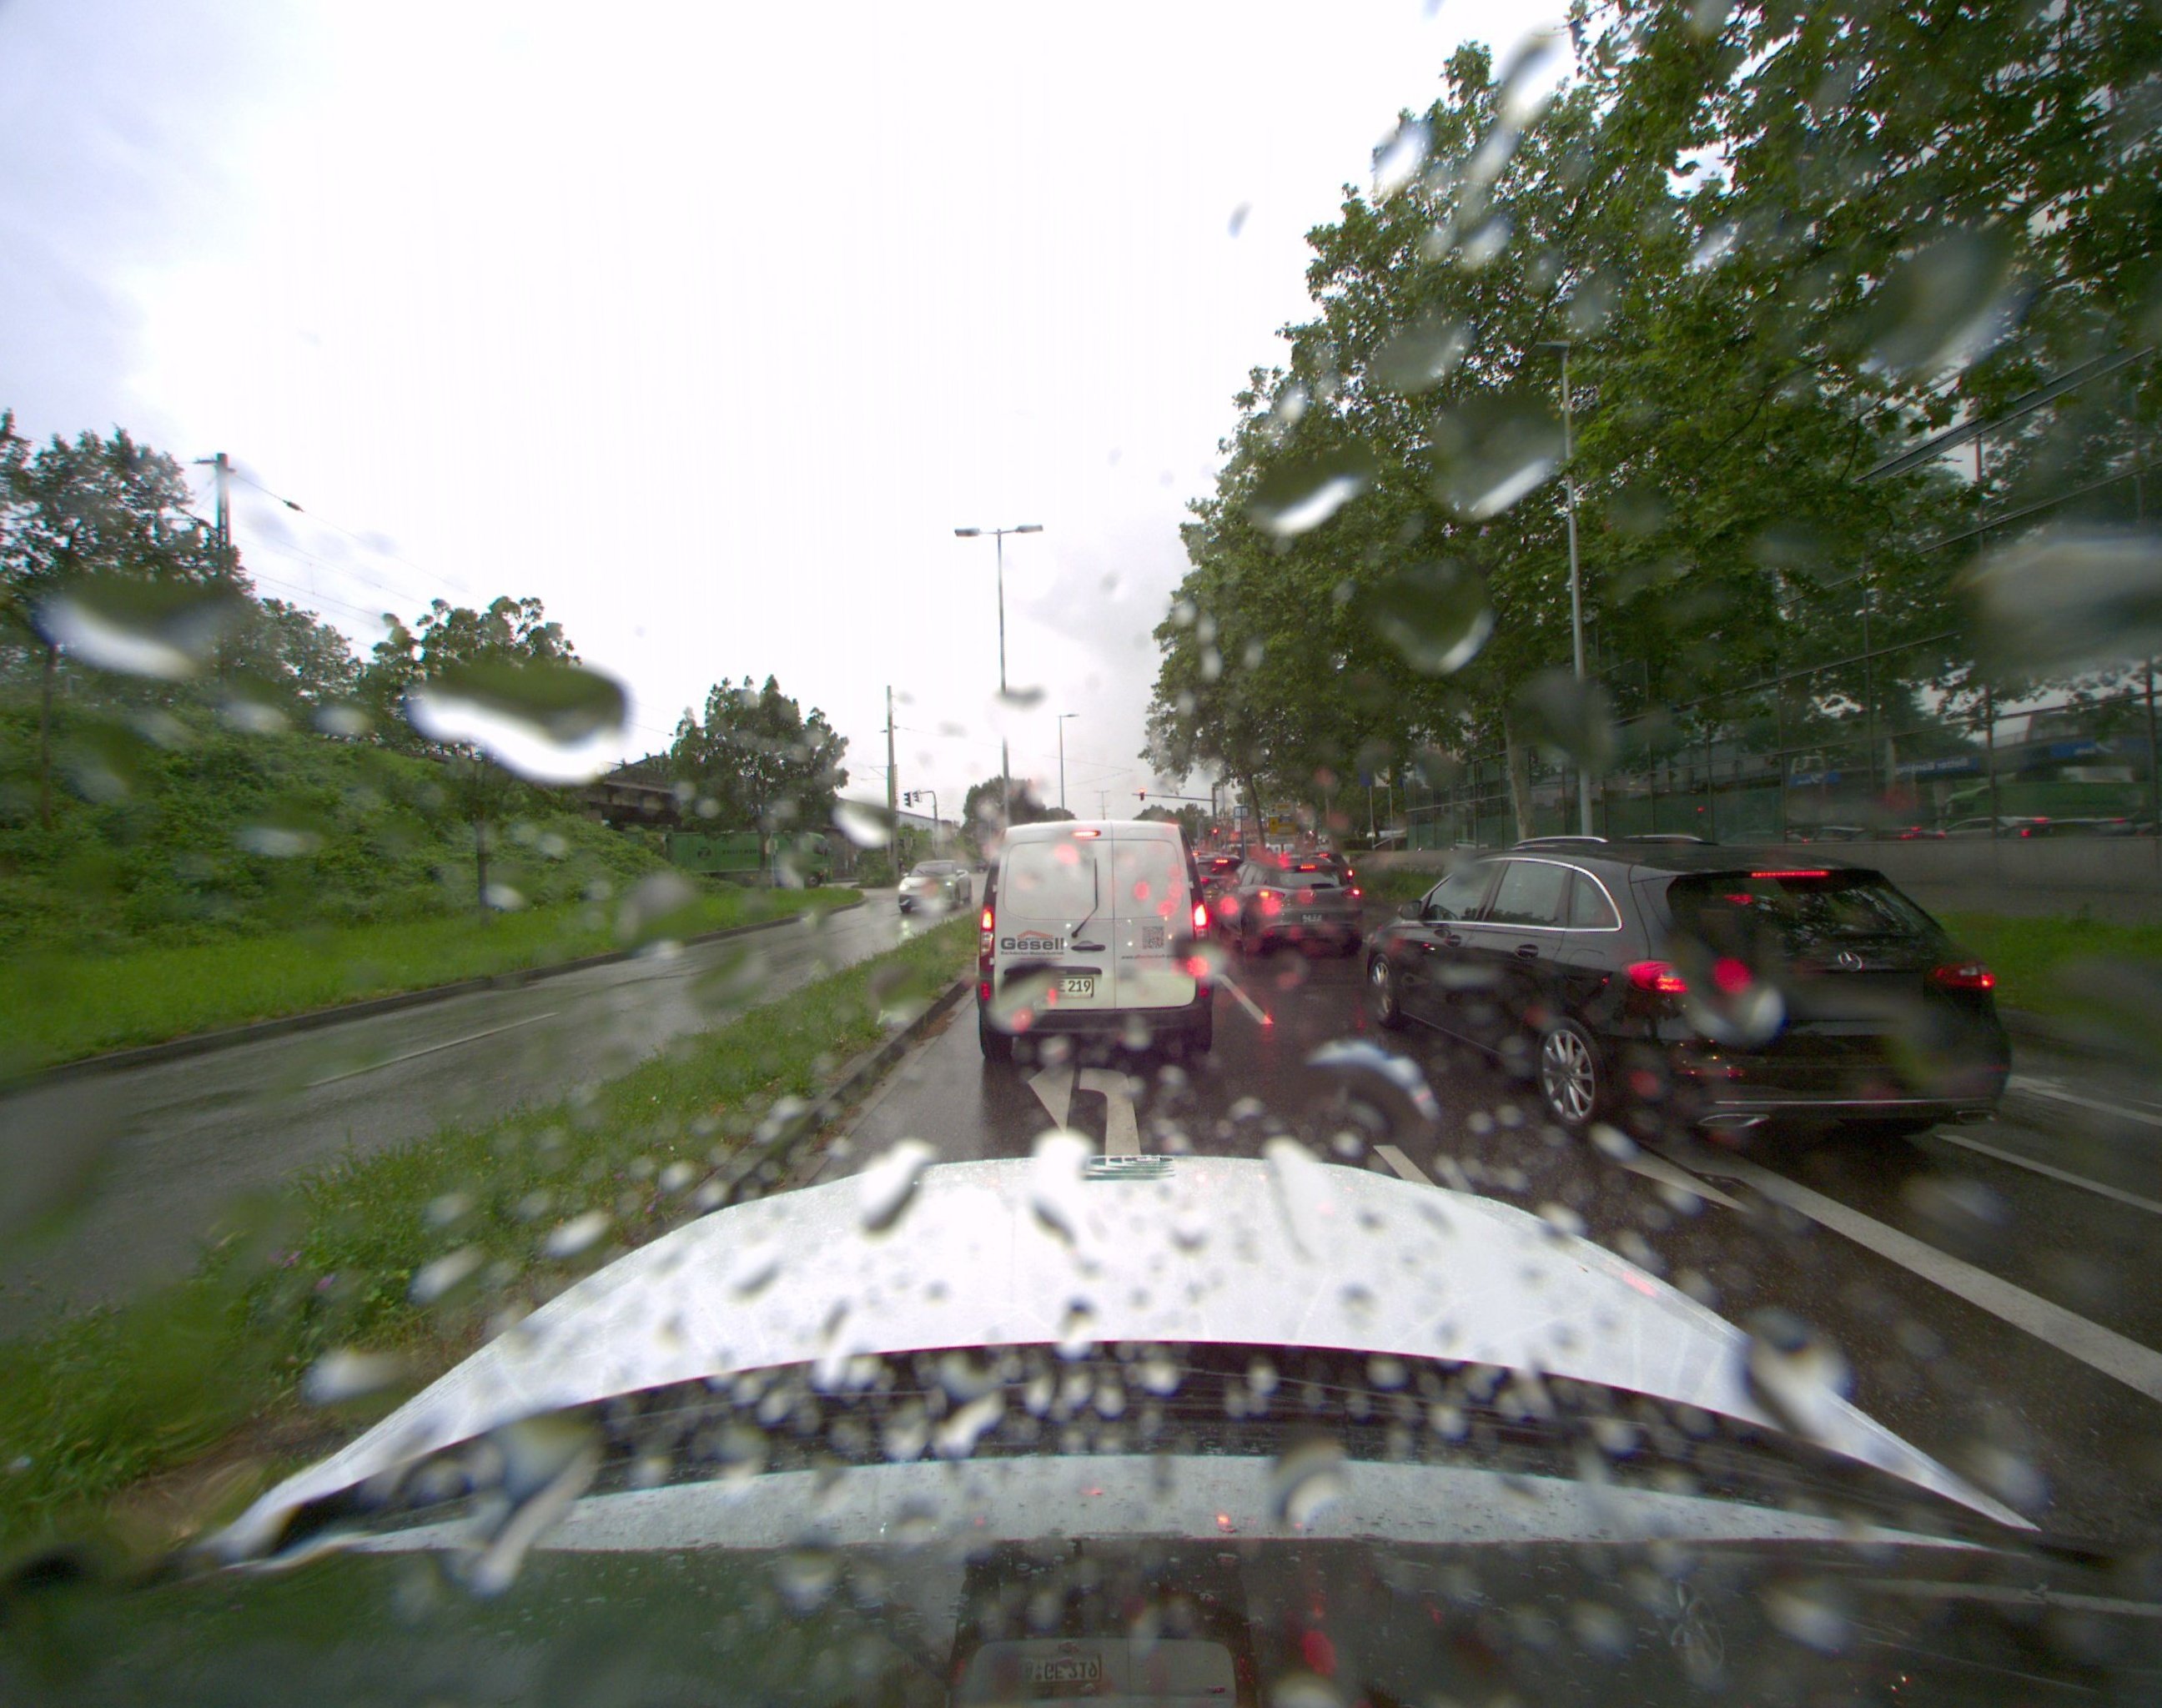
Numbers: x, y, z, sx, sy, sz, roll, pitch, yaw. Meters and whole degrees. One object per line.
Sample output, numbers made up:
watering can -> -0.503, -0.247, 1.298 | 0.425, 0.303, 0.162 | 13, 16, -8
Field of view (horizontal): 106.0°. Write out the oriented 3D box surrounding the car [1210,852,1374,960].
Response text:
car -> 3.227, 0.710, 13.247 | 1.705, 1.445, 4.002 | -1, 0, 2

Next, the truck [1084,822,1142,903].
truck -> 1.004, 0.281, 27.279 | 1.751, 2.466, 3.999 | -1, 0, 0

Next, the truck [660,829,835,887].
truck -> -21.323, 0.274, 52.564 | 10.184, 3.452, 2.629 | 0, -2, -36

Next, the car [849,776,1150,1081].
car -> -0.536, 0.474, 7.471 | 1.987, 2.013, 4.000 | -1, 1, 0

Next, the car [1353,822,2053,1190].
car -> 3.370, 0.632, 5.530 | 1.703, 1.549, 4.000 | -1, 1, 0

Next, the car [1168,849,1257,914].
car -> 3.229, 0.629, 20.727 | 1.705, 1.445, 4.002 | -1, 0, 2

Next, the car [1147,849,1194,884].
car -> 3.904, 0.505, 36.115 | 1.705, 1.445, 4.002 | -1, 0, 2

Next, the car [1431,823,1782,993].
car -> 6.353, 0.574, 10.543 | 1.850, 1.726, 4.190 | -1, -1, 0

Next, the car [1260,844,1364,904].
car -> 6.449, 0.545, 23.231 | 1.833, 1.537, 4.111 | -1, -1, 1

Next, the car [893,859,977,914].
car -> -4.838, 1.017, 27.573 | 1.956, 1.525, 4.334 | -3, 1, 0
